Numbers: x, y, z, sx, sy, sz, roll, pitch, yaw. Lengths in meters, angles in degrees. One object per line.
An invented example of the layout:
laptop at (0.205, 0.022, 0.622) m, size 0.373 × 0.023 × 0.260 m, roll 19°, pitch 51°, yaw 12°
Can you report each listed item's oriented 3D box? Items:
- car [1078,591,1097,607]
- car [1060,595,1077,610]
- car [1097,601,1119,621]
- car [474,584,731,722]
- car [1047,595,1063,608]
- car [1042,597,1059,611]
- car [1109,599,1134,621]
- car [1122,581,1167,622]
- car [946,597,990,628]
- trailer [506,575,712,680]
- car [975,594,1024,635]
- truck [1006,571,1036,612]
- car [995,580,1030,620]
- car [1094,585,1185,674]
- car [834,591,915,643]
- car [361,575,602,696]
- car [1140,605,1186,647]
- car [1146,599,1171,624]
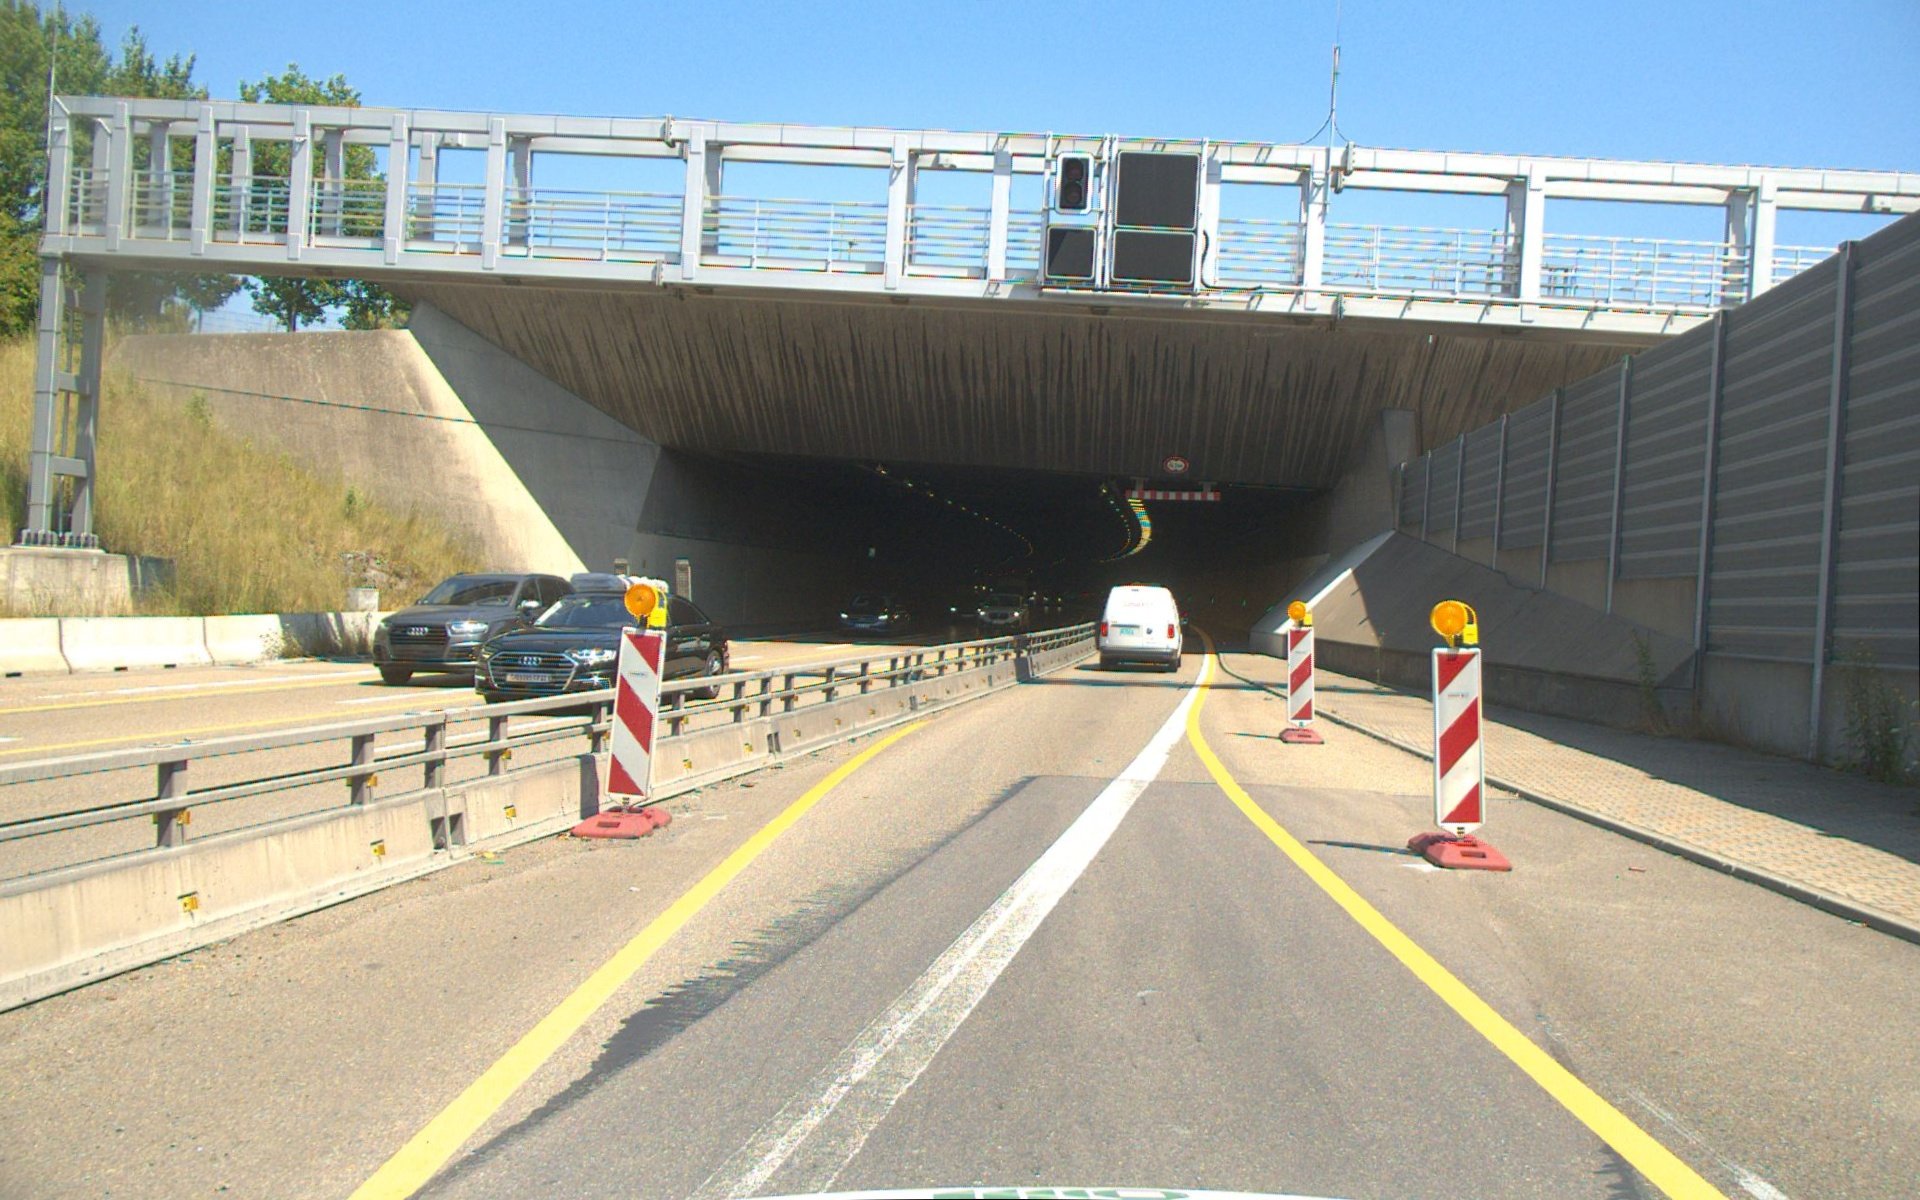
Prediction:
car at (16.598, -0.094, 215.521) m, size 1.900 × 2.056 × 4.661 m, roll 1°, pitch 0°, yaw -1°
car at (15.692, 0.355, 239.653) m, size 2.031 × 2.056 × 4.661 m, roll 1°, pitch 0°, yaw -1°
car at (16.175, 1.219, 180.725) m, size 1.900 × 2.056 × 4.661 m, roll 1°, pitch 0°, yaw -1°
car at (-4.612, 0.621, 22.189) m, size 1.736 × 1.621 × 4.990 m, roll 1°, pitch 0°, yaw 8°
car at (15.017, 0.215, 261.101) m, size 2.031 × 2.056 × 4.661 m, roll 1°, pitch 0°, yaw -1°
car at (9.677, 0.416, 177.360) m, size 1.783 × 1.482 × 4.094 m, roll 1°, pitch 0°, yaw 3°
car at (16.127, 0.973, 165.540) m, size 1.994 × 2.056 × 4.631 m, roll 5°, pitch 0°, yaw 1°
car at (14.348, 0.164, 129.151) m, size 2.756 × 2.821 × 7.102 m, roll 4°, pitch -1°, yaw 2°
car at (0.419, 0.604, 84.102) m, size 1.736 × 1.542 × 4.567 m, roll 1°, pitch 0°, yaw 7°
trailer at (-6.614, 0.476, 31.922) m, size 1.905 × 1.837 × 5.527 m, roll 1°, pitch 0°, yaw 10°
car at (1.650, 0.561, 67.310) m, size 1.736 × 1.605 × 4.449 m, roll 1°, pitch 0°, yaw 4°
truck at (6.125, -0.811, 164.829) m, size 2.751 × 3.984 × 6.458 m, roll 1°, pitch 0°, yaw 3°
car at (3.488, -0.005, 108.968) m, size 1.951 × 2.559 × 6.045 m, roll 1°, pitch 0°, yaw 5°
car at (4.089, 0.651, 37.195) m, size 1.770 × 1.825 × 3.734 m, roll 3°, pitch 0°, yaw 9°
car at (-2.906, 0.564, 57.266) m, size 1.735 × 1.695 × 4.811 m, roll 1°, pitch 0°, yaw 10°
car at (-7.588, 0.521, 26.789) m, size 1.735 × 1.757 × 4.872 m, roll 1°, pitch 0°, yaw 10°
car at (8.399, 1.066, 68.393) m, size 1.770 × 1.564 × 4.412 m, roll 3°, pitch 0°, yaw 7°
car at (13.027, 0.721, 108.547) m, size 1.564 × 1.573 × 3.680 m, roll 1°, pitch 0°, yaw 7°
